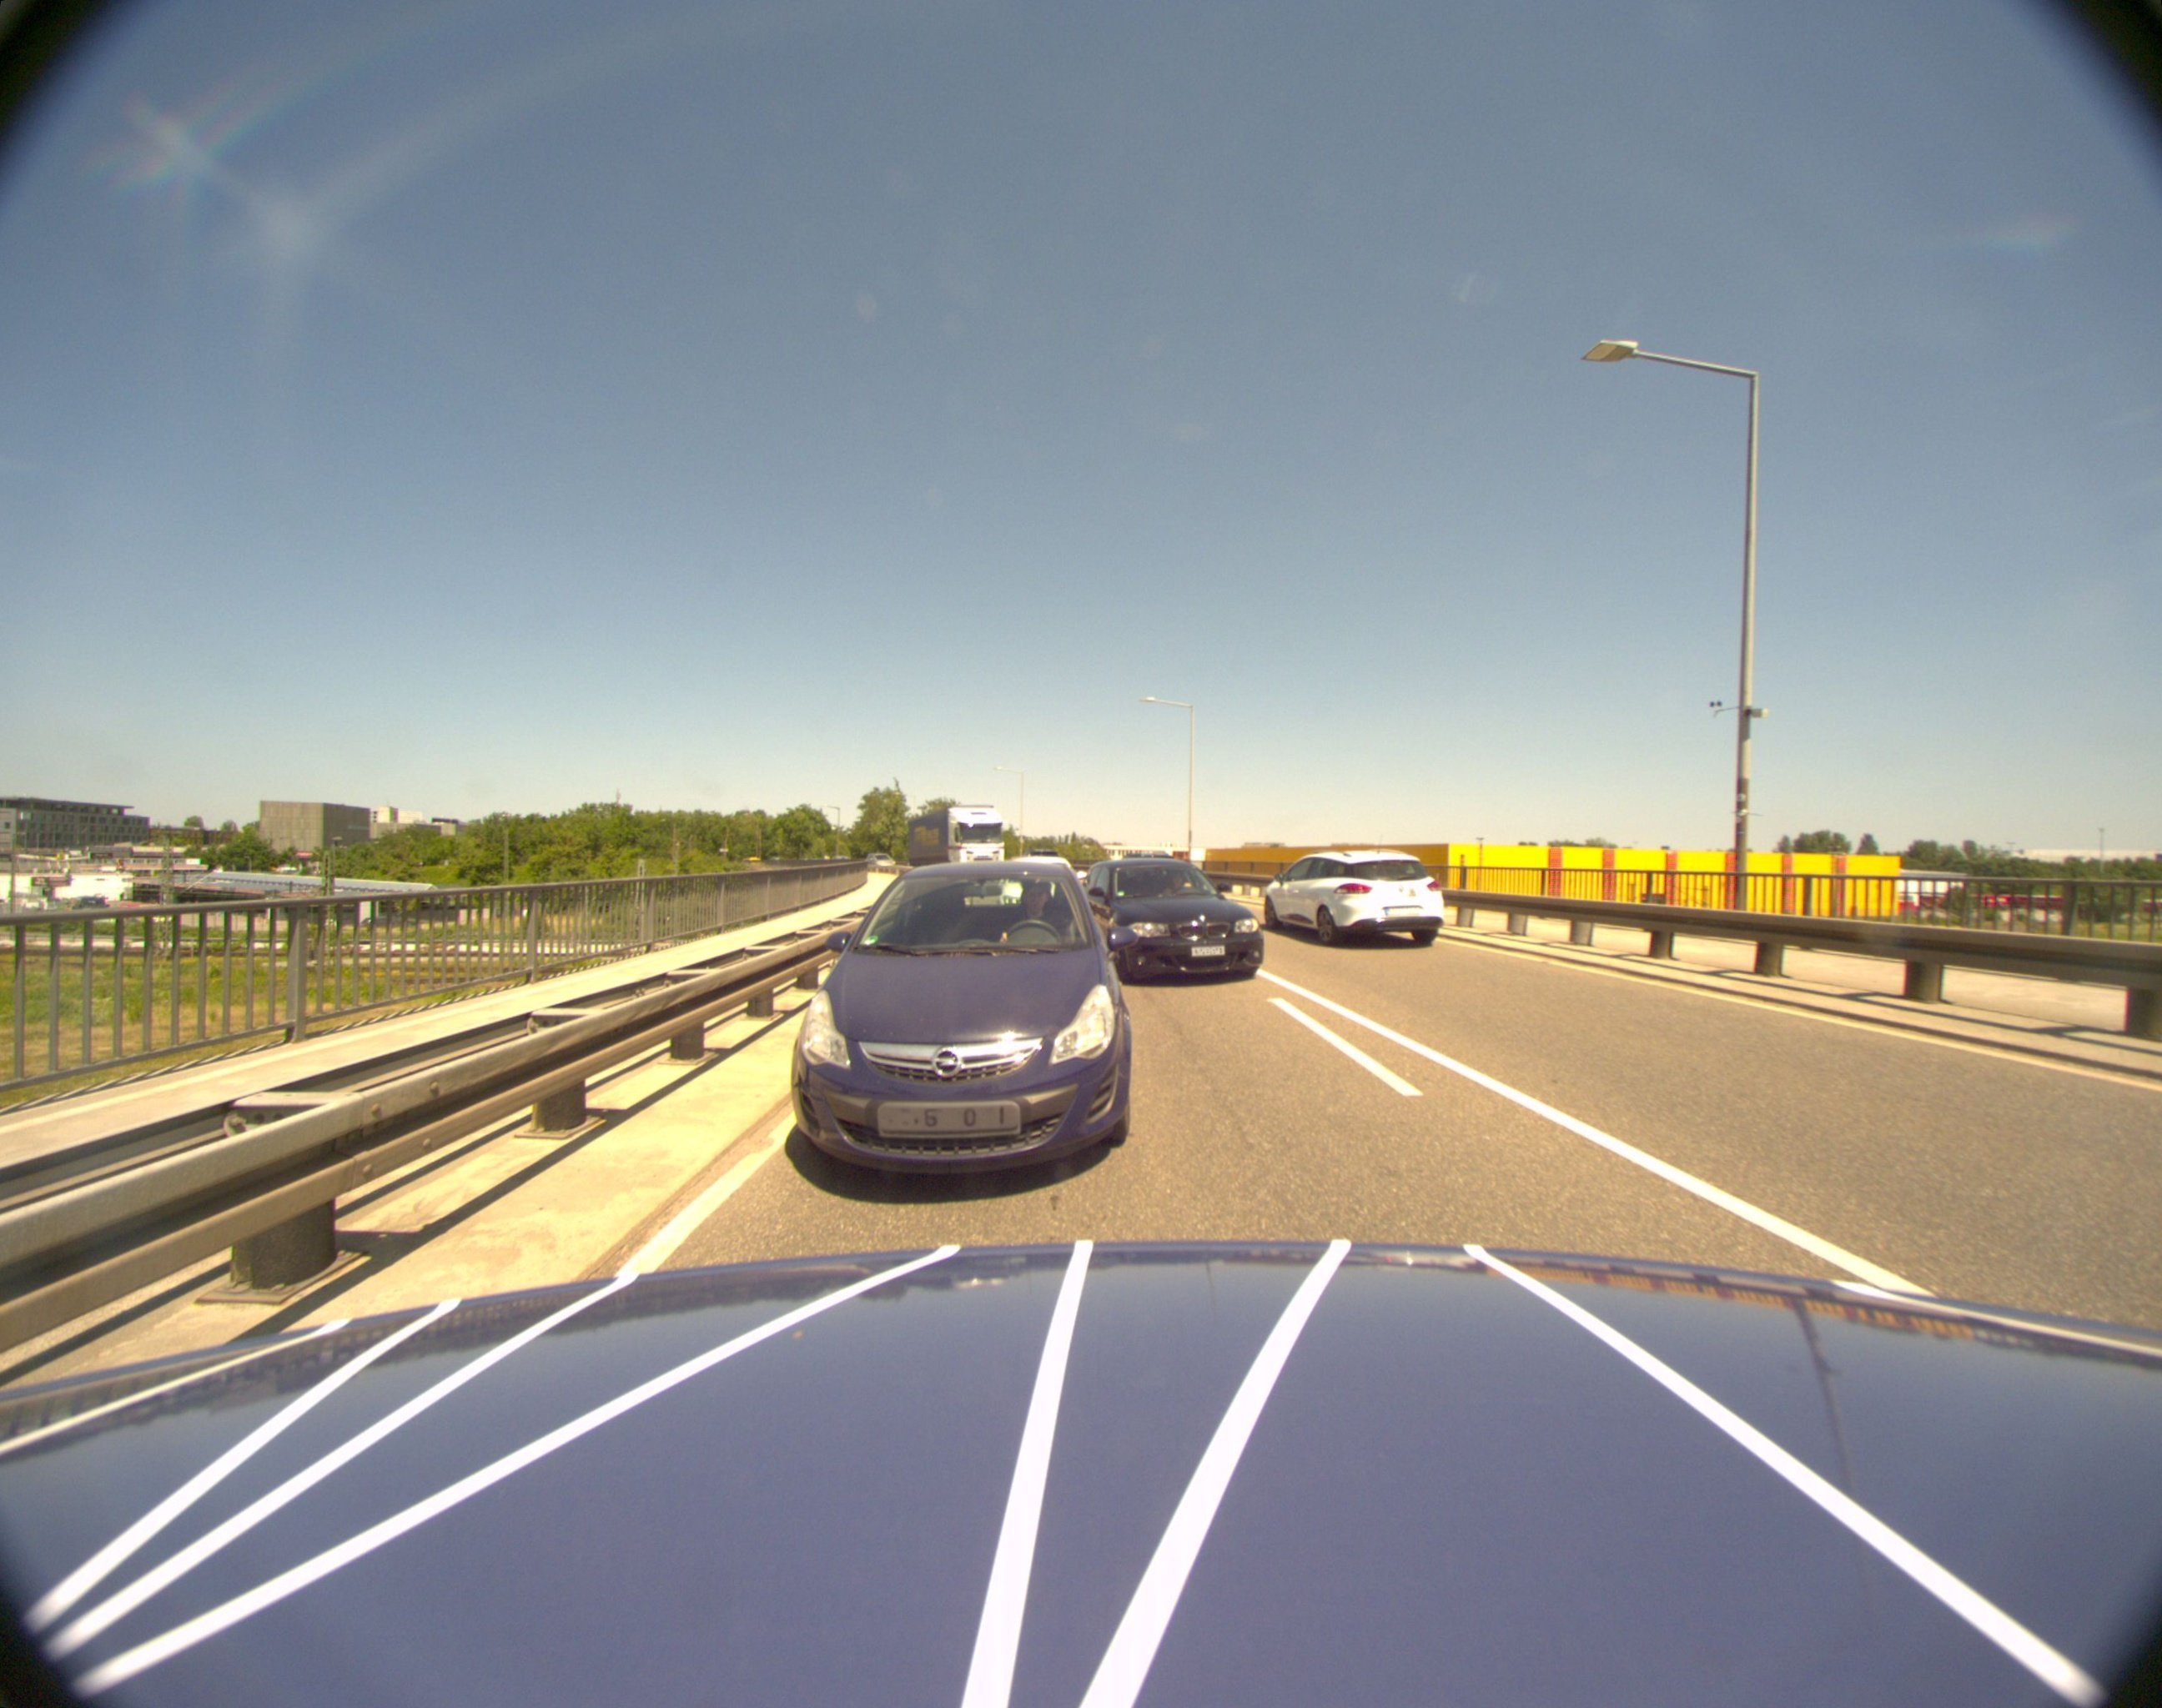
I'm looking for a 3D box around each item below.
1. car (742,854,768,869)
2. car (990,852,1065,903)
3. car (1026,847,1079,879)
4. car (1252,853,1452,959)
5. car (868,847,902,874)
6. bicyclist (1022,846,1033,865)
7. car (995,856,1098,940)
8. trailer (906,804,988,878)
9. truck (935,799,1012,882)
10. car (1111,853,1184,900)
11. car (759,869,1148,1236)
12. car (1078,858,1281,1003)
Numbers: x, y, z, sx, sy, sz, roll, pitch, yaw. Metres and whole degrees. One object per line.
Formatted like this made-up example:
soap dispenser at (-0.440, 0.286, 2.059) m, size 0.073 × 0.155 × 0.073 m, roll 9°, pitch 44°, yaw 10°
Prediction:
car at (-45.088, 0.989, 104.980) m, size 2.004 × 2.002 × 3.988 m, roll -3°, pitch 2°, yaw -43°
car at (-1.834, 0.689, 24.683) m, size 1.796 × 1.446 × 4.518 m, roll -2°, pitch 0°, yaw -11°
car at (-1.655, 0.477, 42.354) m, size 1.973 × 1.663 × 4.607 m, roll -1°, pitch 0°, yaw -15°
car at (4.323, 0.739, 12.843) m, size 1.604 × 1.441 × 4.053 m, roll -1°, pitch 1°, yaw -6°
car at (-17.848, 0.603, 69.067) m, size 2.002 × 2.001 × 3.993 m, roll -5°, pitch -1°, yaw -27°
bicyclist at (-4.255, 0.098, 60.305) m, size 0.585 × 1.512 × 0.894 m, roll -1°, pitch 1°, yaw -20°
car at (-0.891, 0.825, 16.434) m, size 1.795 × 1.447 × 4.519 m, roll -2°, pitch 1°, yaw -8°
trailer at (-9.081, -0.841, 49.984) m, size 2.705 × 4.211 × 12.688 m, roll -2°, pitch 1°, yaw -21°
truck at (-6.119, -0.757, 42.366) m, size 2.699 × 4.205 × 6.826 m, roll -3°, pitch 2°, yaw -21°
car at (2.233, 0.710, 26.531) m, size 1.715 × 1.460 × 4.457 m, roll -1°, pitch 0°, yaw -6°
car at (-0.663, 0.901, 5.323) m, size 1.645 × 1.431 × 3.998 m, roll -2°, pitch 1°, yaw -4°
car at (1.065, 0.831, 10.451) m, size 1.795 × 1.447 × 4.520 m, roll -1°, pitch 1°, yaw -5°
